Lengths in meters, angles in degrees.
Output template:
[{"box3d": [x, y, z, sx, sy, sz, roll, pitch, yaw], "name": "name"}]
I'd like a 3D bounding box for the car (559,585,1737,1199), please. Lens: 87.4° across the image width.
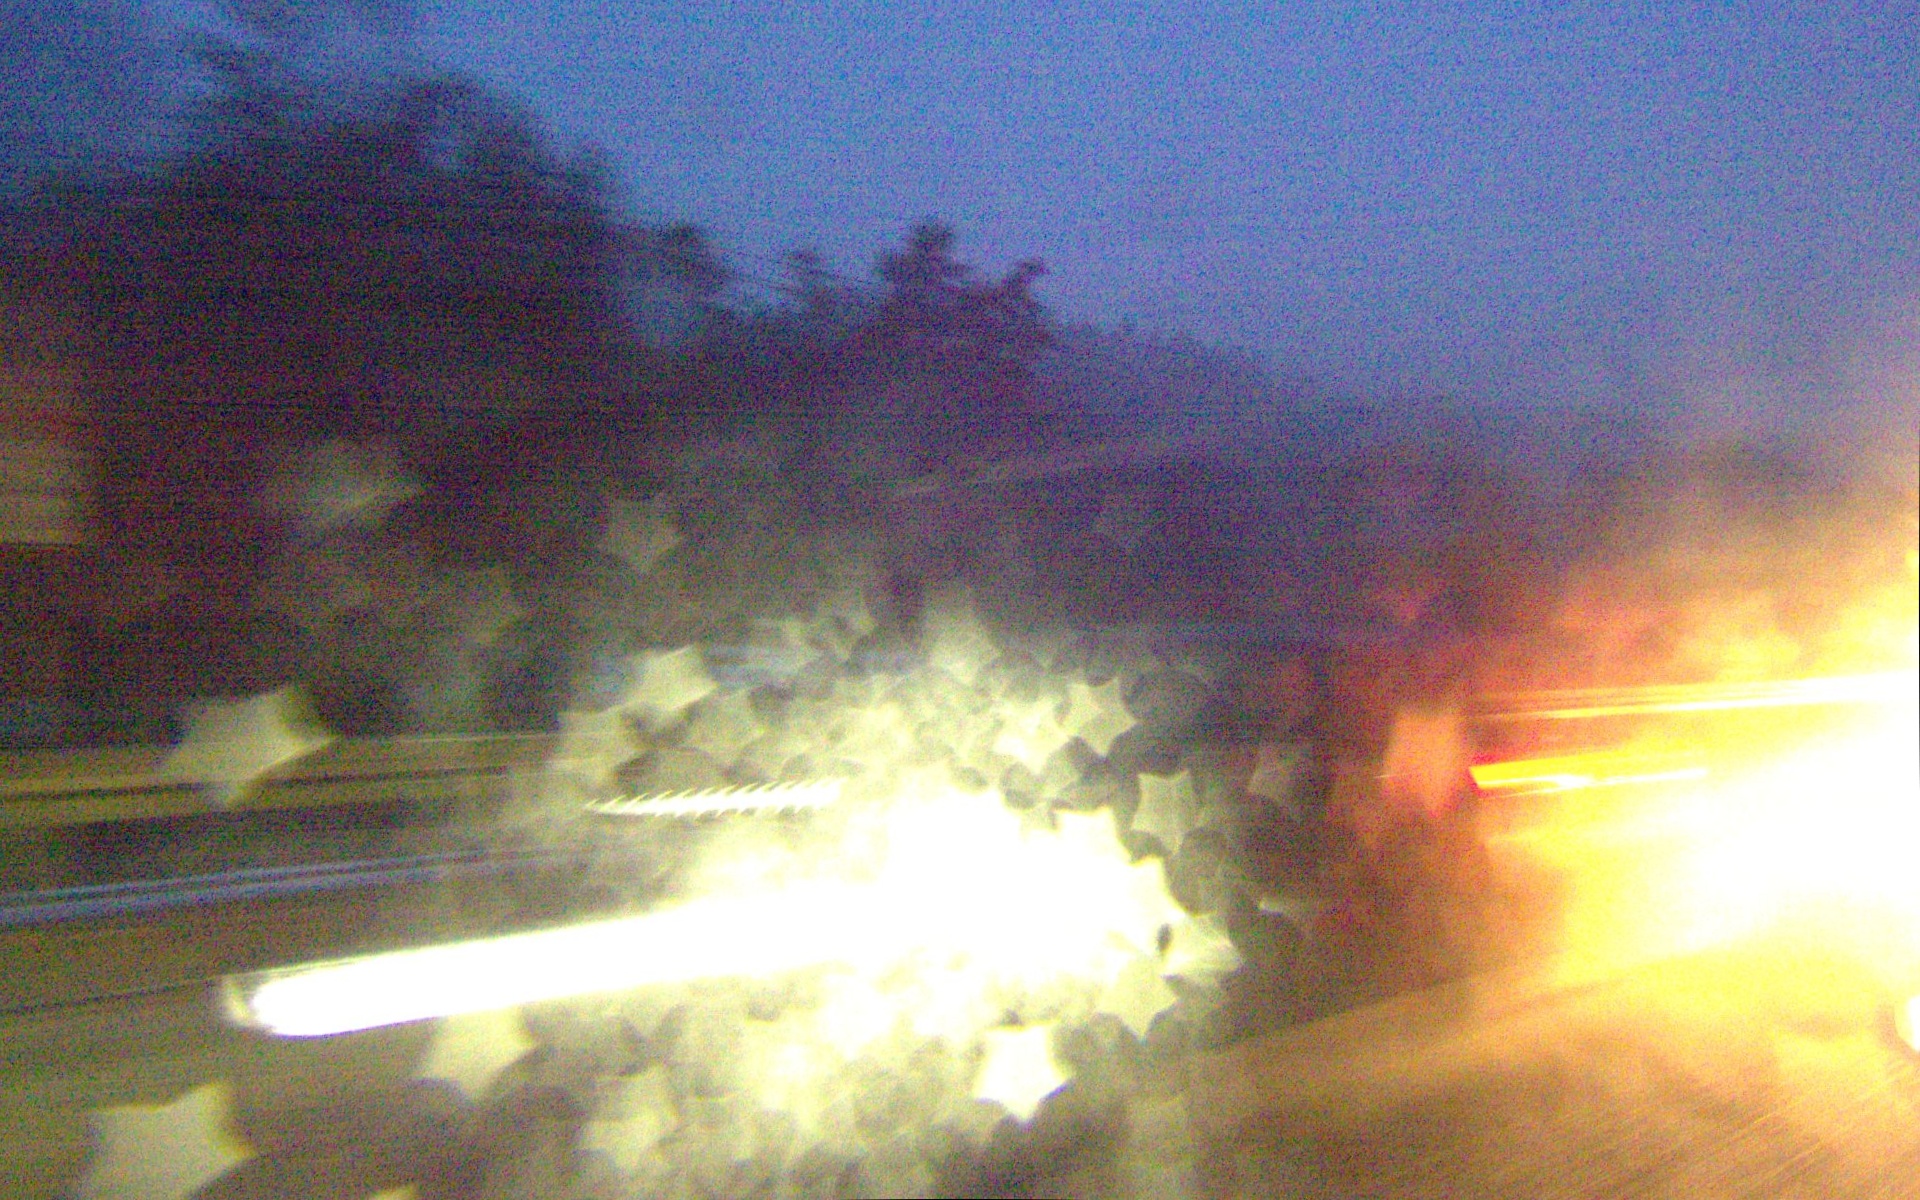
[{"box3d": [0.828, 0.755, 3.921, 4.230, 1.481, 1.967, 1, 1, -29], "name": "car"}]
